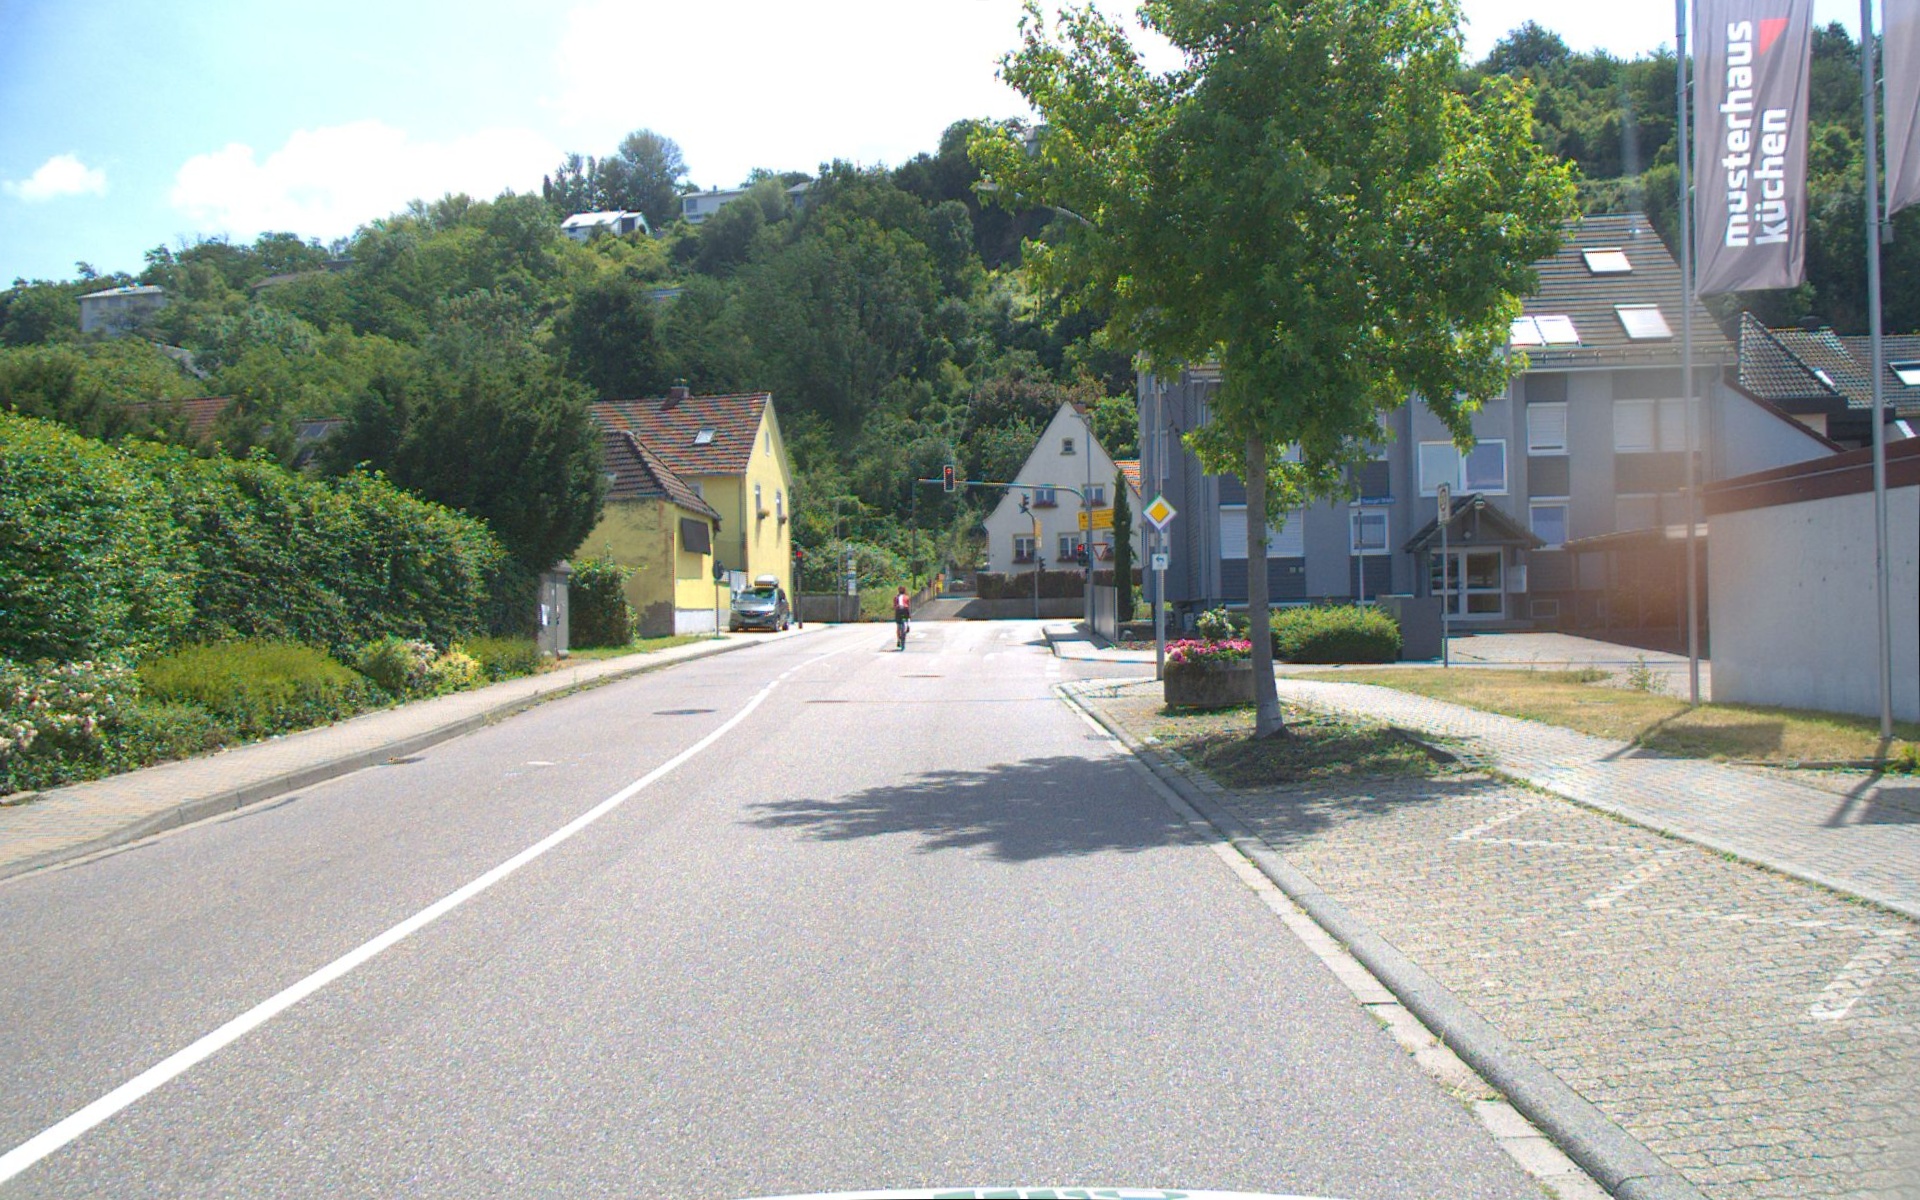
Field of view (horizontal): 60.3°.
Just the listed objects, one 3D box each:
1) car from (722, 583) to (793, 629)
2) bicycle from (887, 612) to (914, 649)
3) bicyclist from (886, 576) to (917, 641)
[{"bbox_3d":[-7.610,0.201,62.436,1.952,1.664,4.631,0,0,2],"label":"car"},{"bbox_3d":[-1.567,0.802,43.911,0.617,0.920,1.657,0,0,2],"label":"bicycle"},{"bbox_3d":[-1.551,0.224,43.877,0.745,1.693,0.869,0,0,2],"label":"bicyclist"}]
